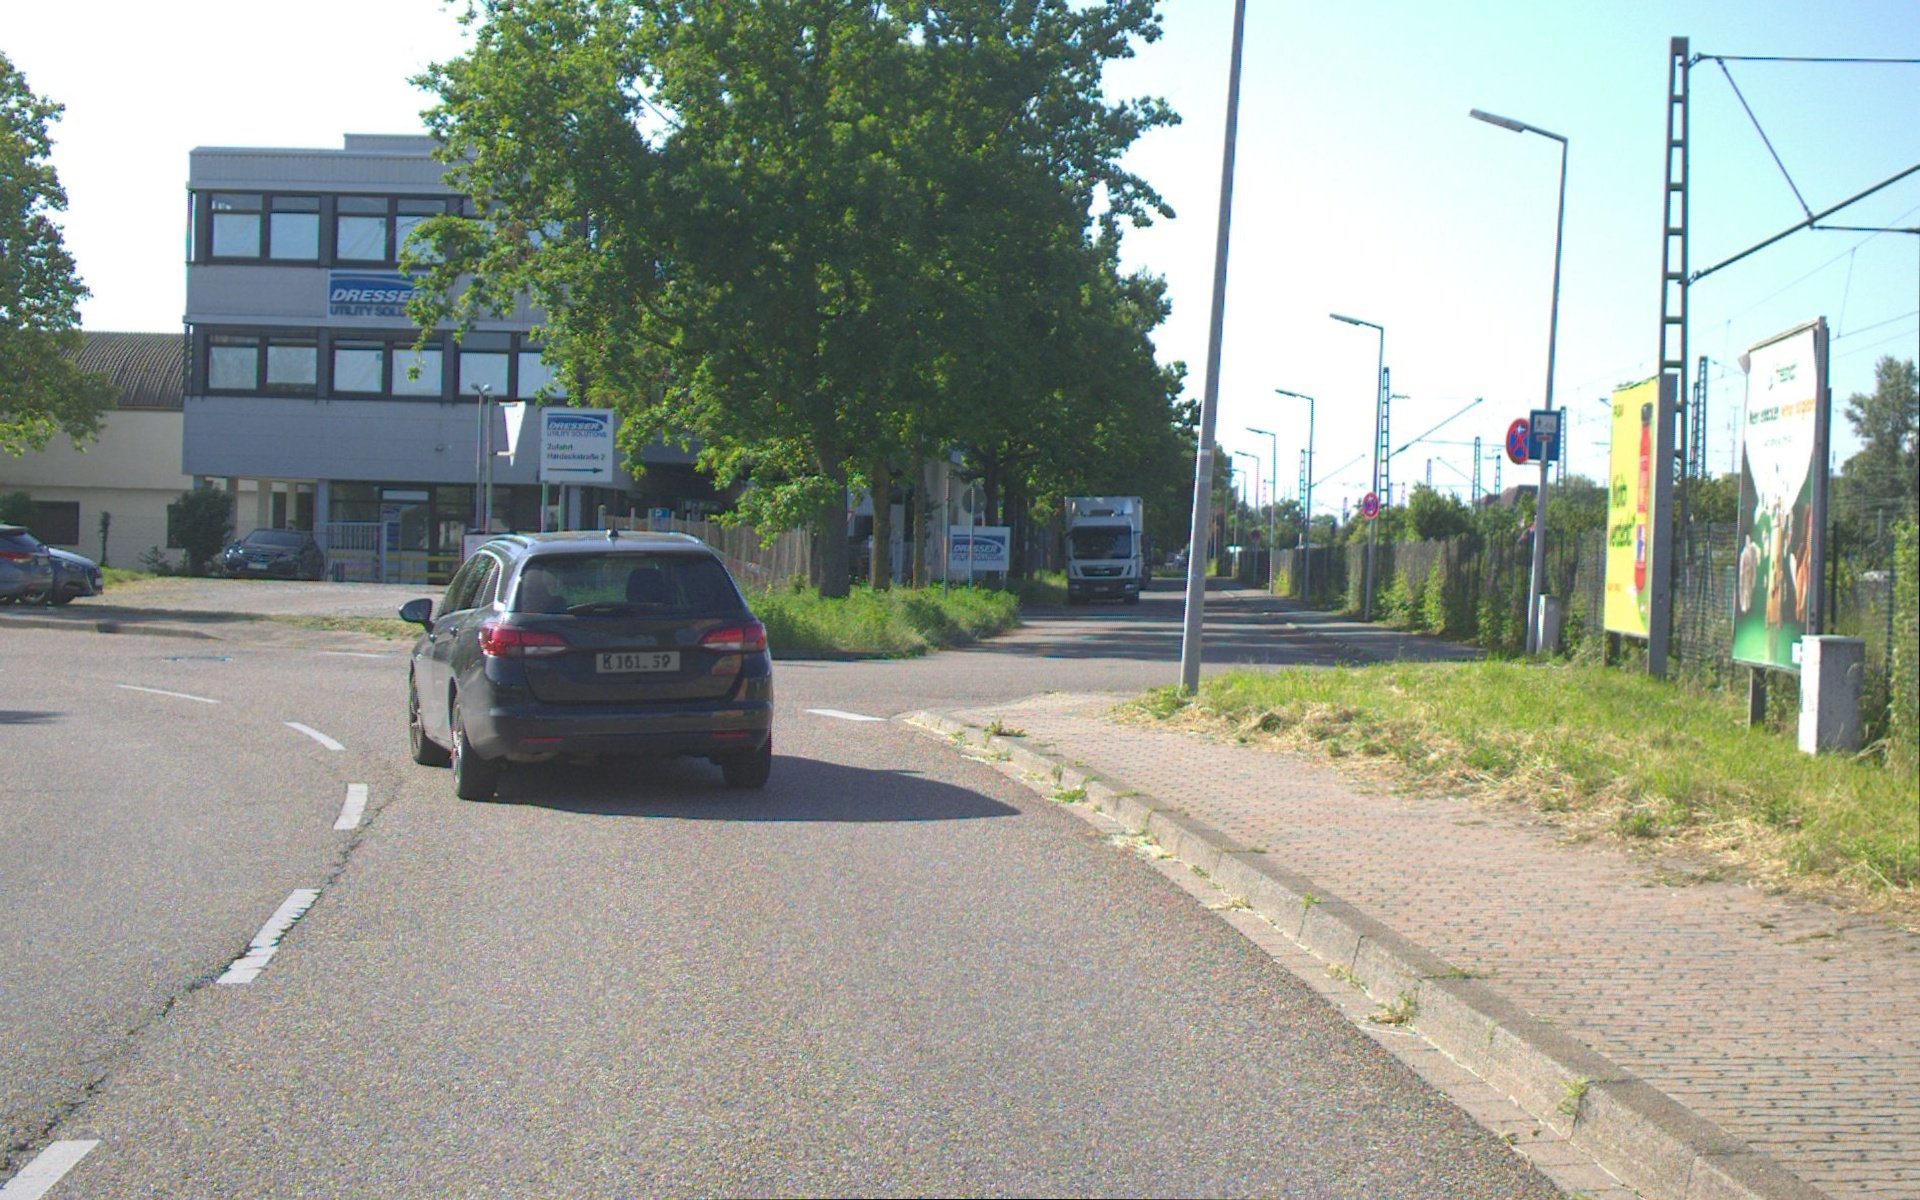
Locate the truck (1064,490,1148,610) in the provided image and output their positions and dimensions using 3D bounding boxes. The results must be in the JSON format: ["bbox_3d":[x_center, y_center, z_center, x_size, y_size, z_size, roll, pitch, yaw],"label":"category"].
[{"bbox_3d":[5.048,-1.734,120.999,2.613,3.872,13.532,3,1,2],"label":"truck"}]

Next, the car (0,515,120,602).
[{"bbox_3d":[-17.567,-0.784,60.715,4.911,1.479,2.000,2,1,3],"label":"car"}]

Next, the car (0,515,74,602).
[{"bbox_3d":[-17.730,-0.766,58.118,4.911,1.421,2.000,2,1,3],"label":"car"}]

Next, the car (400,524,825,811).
[{"bbox_3d":[-2.200,0.308,20.519,1.942,1.483,4.567,0,2,-13],"label":"car"}]

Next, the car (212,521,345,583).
[{"bbox_3d":[-17.739,-1.272,89.695,1.994,1.479,4.926,2,2,6],"label":"car"}]
